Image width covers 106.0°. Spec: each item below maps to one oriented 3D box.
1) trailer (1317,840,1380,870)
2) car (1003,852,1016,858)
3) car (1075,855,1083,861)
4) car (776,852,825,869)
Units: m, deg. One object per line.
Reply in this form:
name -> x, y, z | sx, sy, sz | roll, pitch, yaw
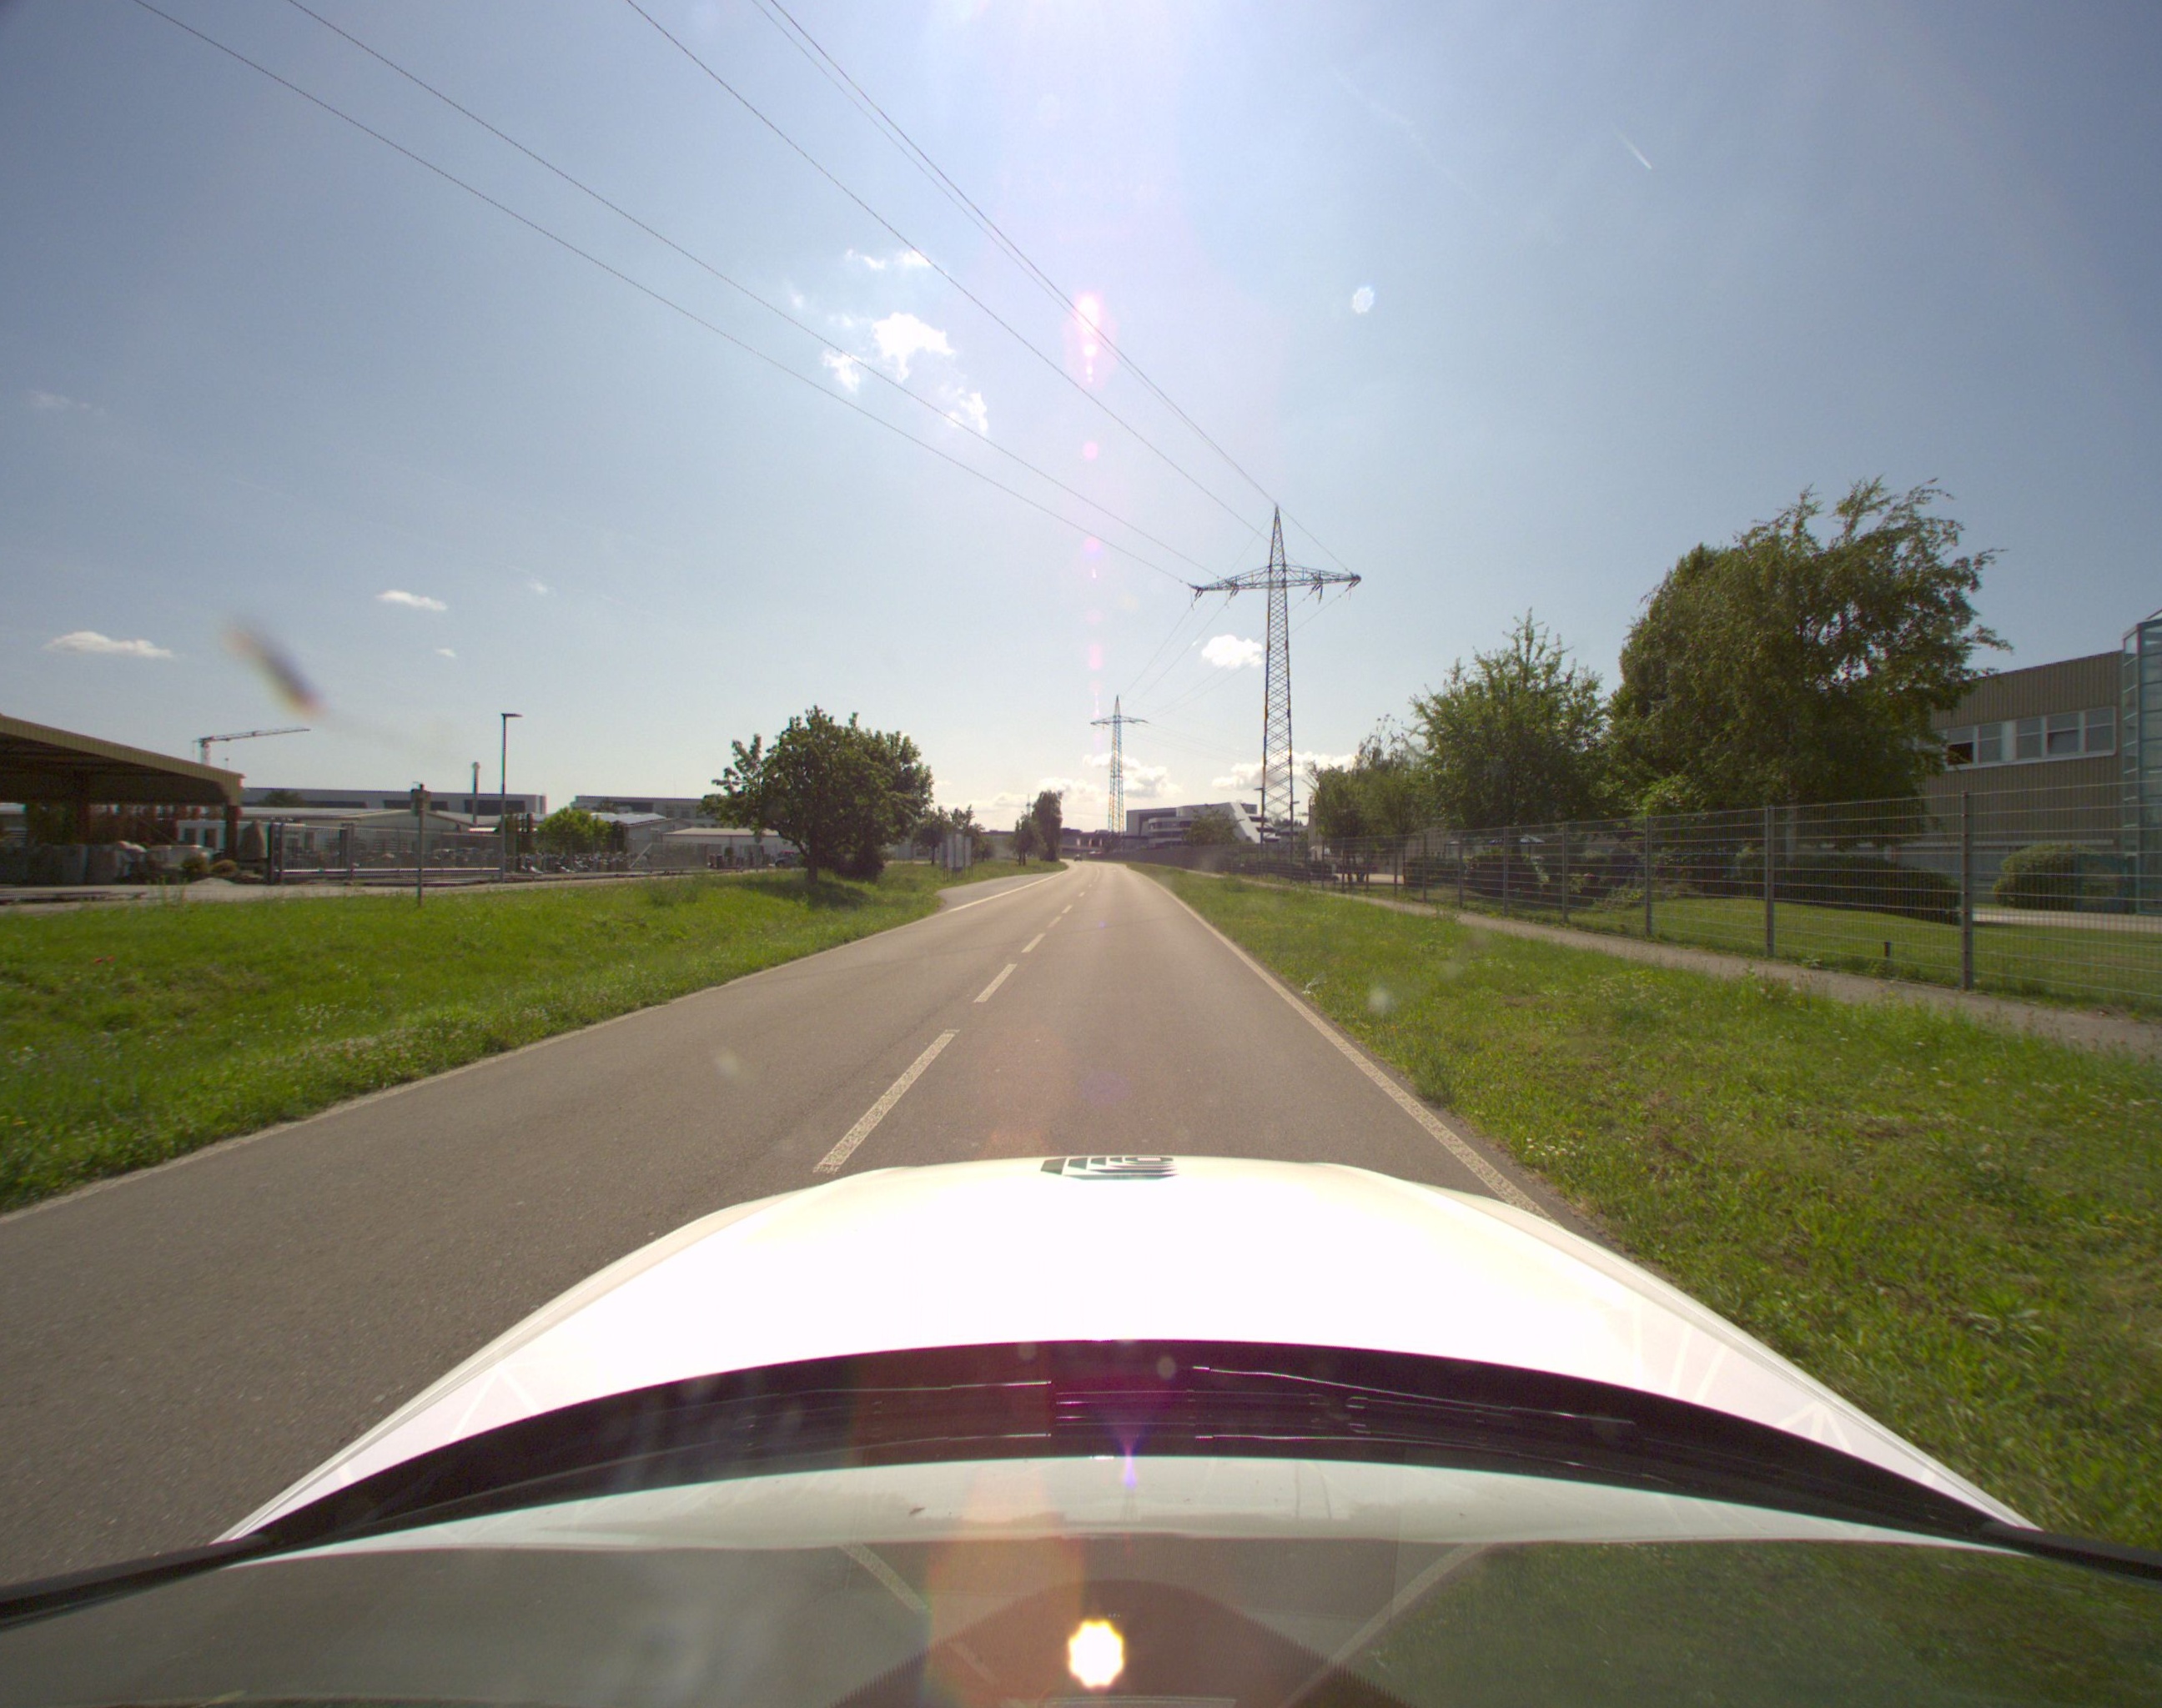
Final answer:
trailer -> 35.510, 0.068, 108.804 | 3.584, 3.735, 12.218 | -1, 0, -5
car -> -21.718, 0.382, 246.560 | 3.982, 1.574, 1.996 | 3, -2, -6
car -> -0.540, 1.063, 199.328 | 2.006, 1.508, 3.998 | -1, -1, -1
car -> -26.594, 0.635, 77.420 | 3.979, 1.528, 1.997 | 1, 0, -4
